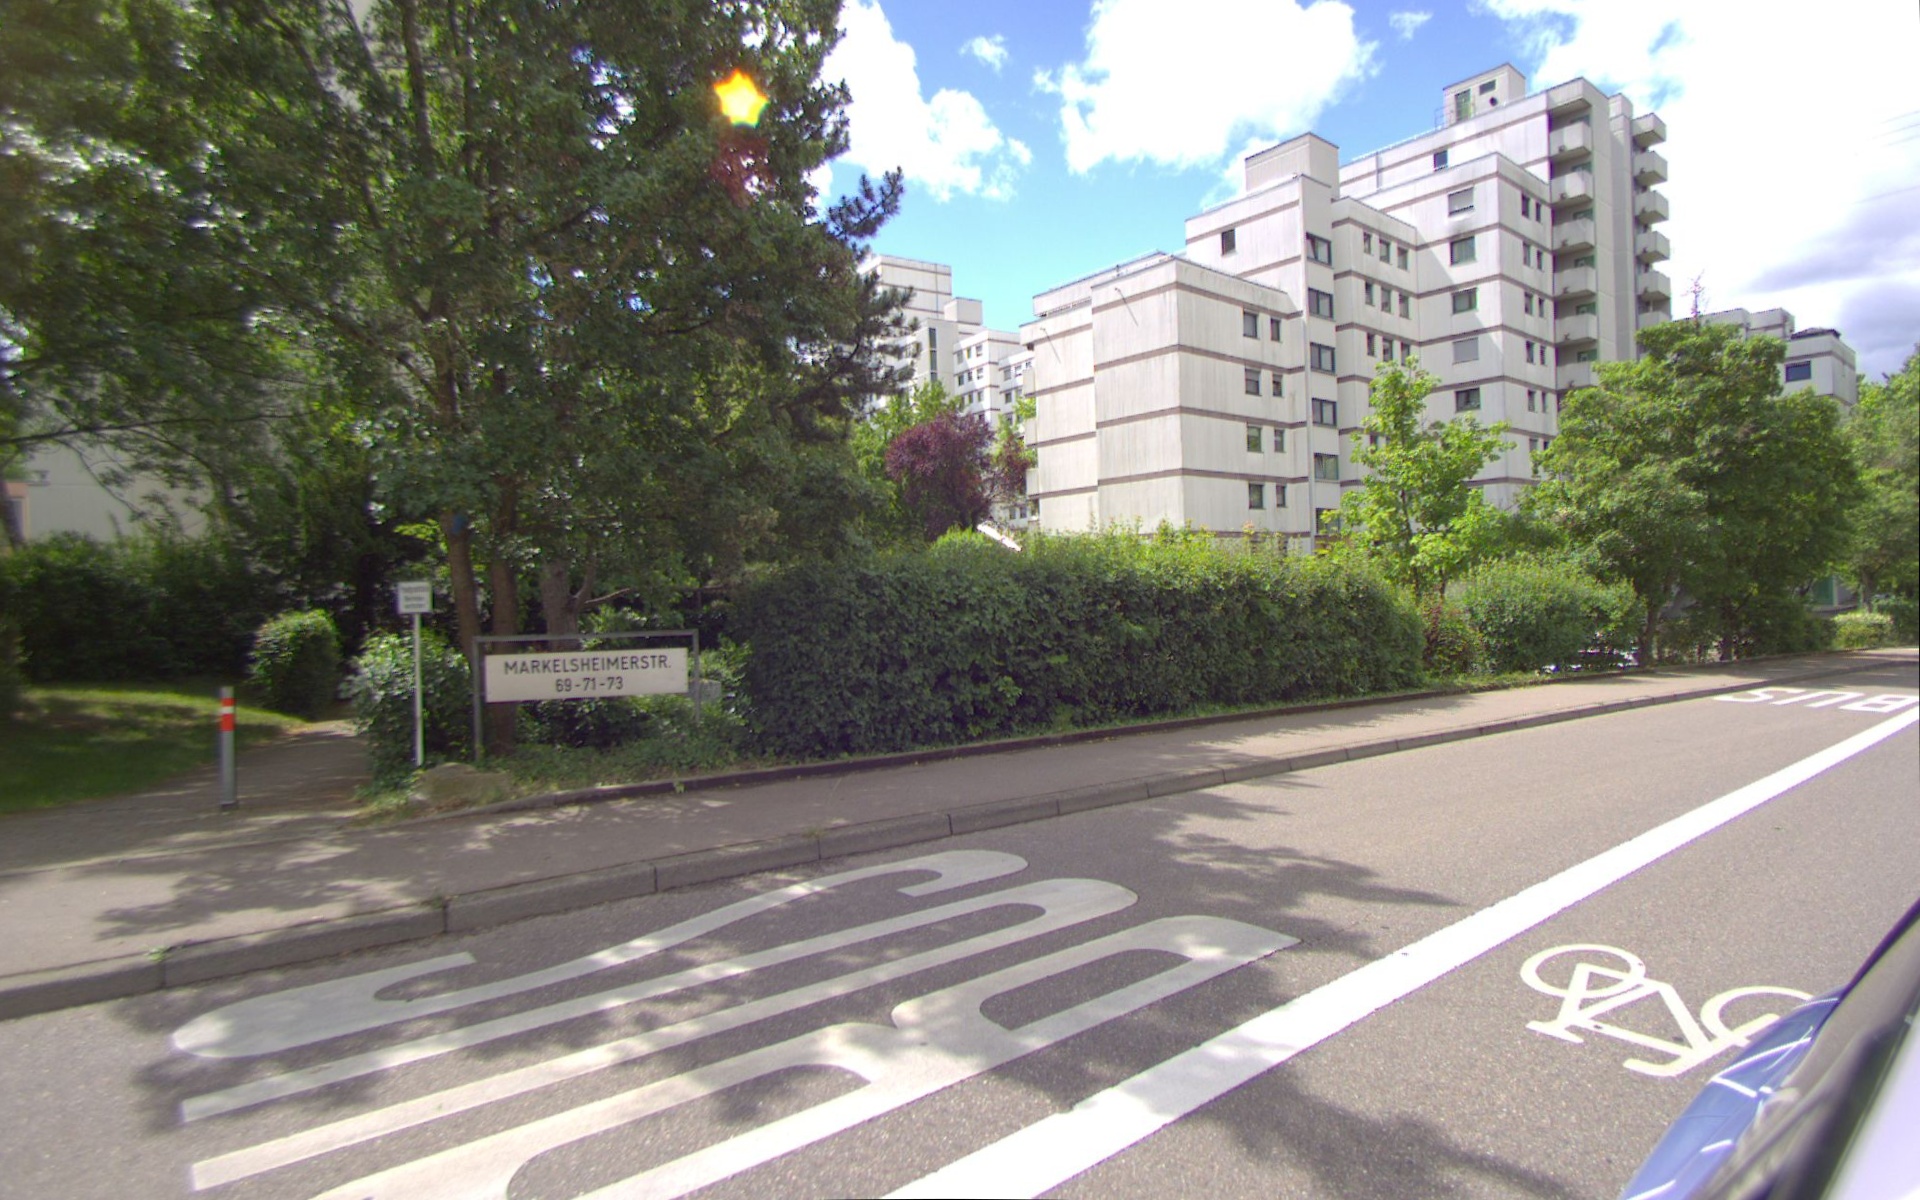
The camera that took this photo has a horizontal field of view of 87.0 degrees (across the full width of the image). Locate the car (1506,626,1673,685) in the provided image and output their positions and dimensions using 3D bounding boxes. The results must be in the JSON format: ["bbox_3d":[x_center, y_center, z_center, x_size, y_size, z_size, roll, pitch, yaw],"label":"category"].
[{"bbox_3d":[18.011,1.539,29.076,1.536,1.450,3.762,-2,1,-37],"label":"car"}]
